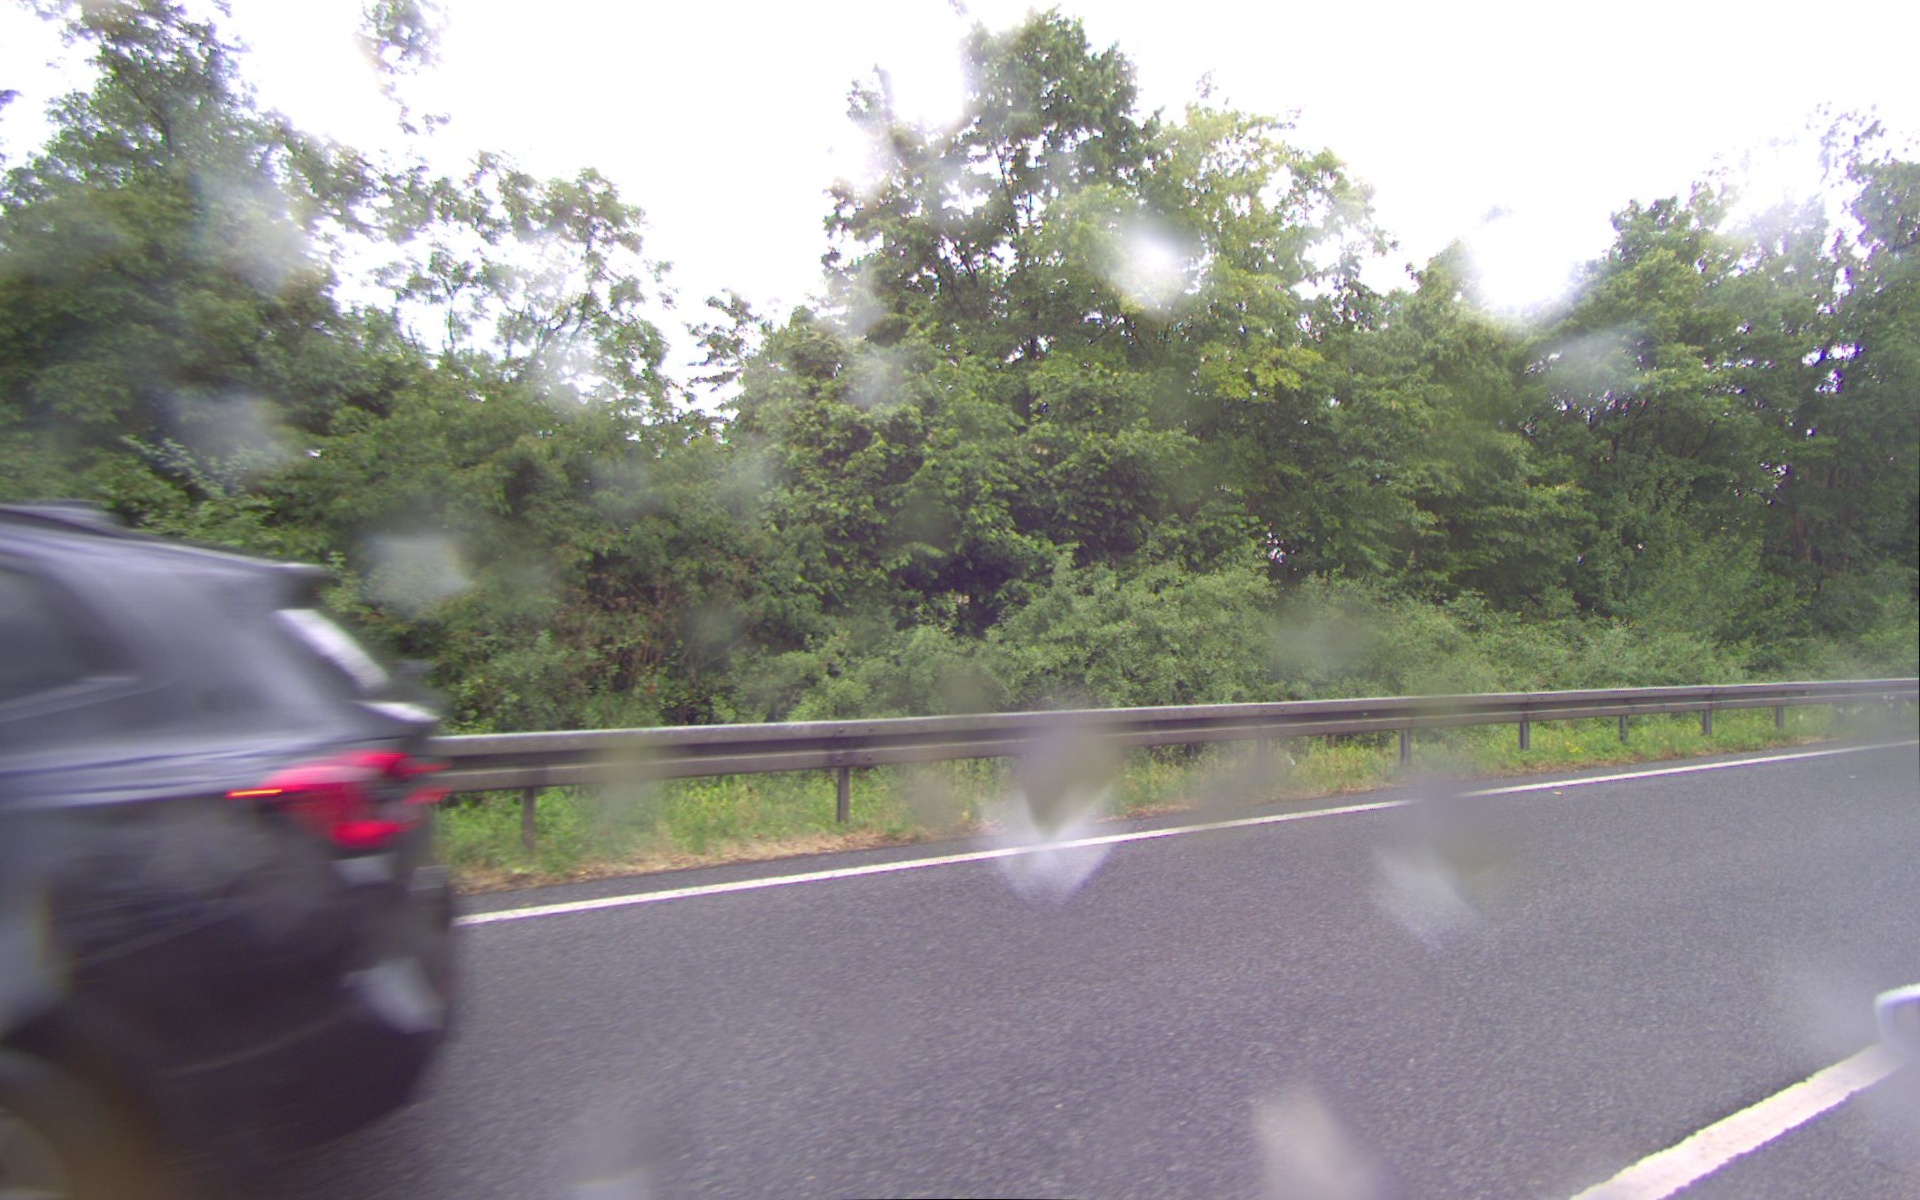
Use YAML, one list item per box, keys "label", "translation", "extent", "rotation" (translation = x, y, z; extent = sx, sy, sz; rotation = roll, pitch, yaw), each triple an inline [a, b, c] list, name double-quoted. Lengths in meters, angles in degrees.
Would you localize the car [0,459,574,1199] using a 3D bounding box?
- label: "car"
  translation: [-3.115, 0.561, 1.844]
  extent: [4.248, 1.666, 1.838]
  rotation: [1, 0, -31]
